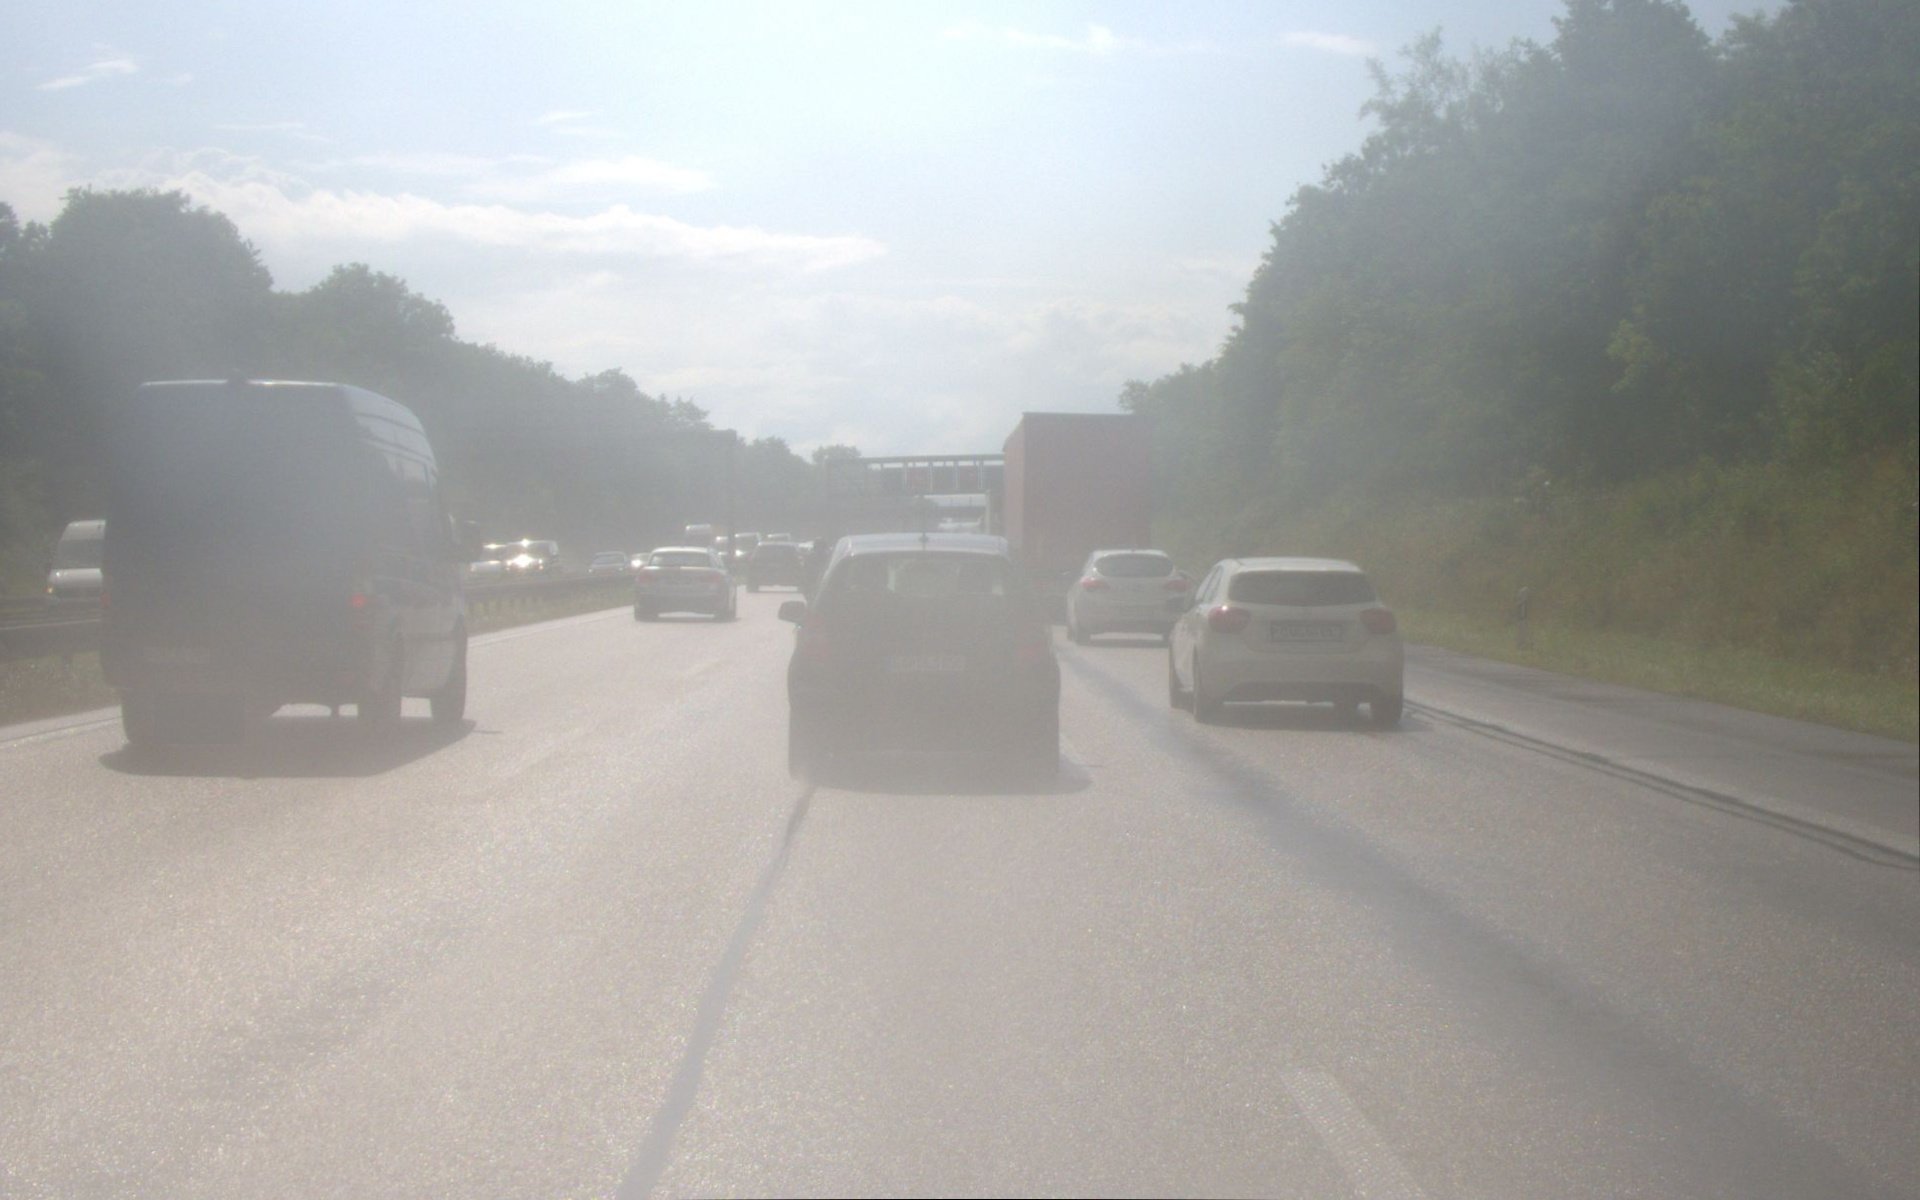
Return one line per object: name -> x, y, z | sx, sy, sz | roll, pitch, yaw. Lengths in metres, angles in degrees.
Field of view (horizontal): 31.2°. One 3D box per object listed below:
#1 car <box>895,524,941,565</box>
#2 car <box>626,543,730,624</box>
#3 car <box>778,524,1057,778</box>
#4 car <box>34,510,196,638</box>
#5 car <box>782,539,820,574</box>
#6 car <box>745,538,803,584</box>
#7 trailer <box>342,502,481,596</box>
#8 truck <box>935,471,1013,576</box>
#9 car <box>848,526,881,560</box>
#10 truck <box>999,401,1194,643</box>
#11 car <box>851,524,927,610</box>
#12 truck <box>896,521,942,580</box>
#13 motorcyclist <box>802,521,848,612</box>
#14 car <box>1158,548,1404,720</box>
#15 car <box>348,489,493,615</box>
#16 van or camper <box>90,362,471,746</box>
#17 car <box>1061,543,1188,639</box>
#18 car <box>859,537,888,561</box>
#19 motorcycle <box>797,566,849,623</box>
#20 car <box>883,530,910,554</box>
car -> -1.480, -1.931, 120.067 | 1.552, 1.378, 3.210 | 1, 1, -1
car -> -5.606, -0.348, 68.683 | 1.854, 1.546, 3.485 | 1, 1, -1
car -> -0.311, 0.294, 23.194 | 1.717, 1.562, 3.485 | 1, 1, -1
car -> -19.828, -0.643, 81.021 | 2.262, 2.860, 6.932 | 1, 1, -2
car -> -6.402, -1.771, 138.862 | 1.460, 1.389, 3.312 | 1, 1, -1
car -> -6.007, -1.261, 111.193 | 1.751, 1.452, 3.390 | 1, 1, -1
trailer -> -23.653, -2.207, 149.359 | 2.990, 3.818, 17.952 | 1, 1, 0
truck -> 0.622, -3.345, 152.823 | 3.256, 4.464, 12.421 | 1, 1, 0
car -> -5.903, -3.525, 212.318 | 1.993, 2.007, 4.000 | -1, 1, -1
truck -> 2.788, -1.656, 75.985 | 3.650, 4.704, 16.779 | 1, 1, 0
car -> -1.496, -0.692, 71.927 | 1.531, 1.740, 3.485 | 1, 1, -1
truck -> -2.073, -2.480, 171.405 | 2.192, 2.865, 4.850 | 1, 1, -1
motorcyclist -> -2.451, -0.603, 62.387 | 0.801, 1.627, 1.013 | 1, 1, -1
car -> 2.808, 0.253, 30.909 | 1.692, 1.420, 4.220 | 1, 1, -1
car -> -11.008, -0.985, 70.537 | 2.183, 2.444, 5.748 | 1, 1, -1
van or camper -> -5.122, -0.357, 26.667 | 1.993, 2.659, 5.385 | 1, 1, -1
car -> 2.536, -0.161, 53.818 | 1.680, 1.437, 3.905 | 1, 1, -1
car -> -4.795, -2.820, 190.529 | 1.549, 1.262, 3.485 | 1, 1, -2
motorcycle -> -2.474, -0.116, 62.437 | 0.890, 0.997, 2.896 | 1, 1, -2
car -> -4.709, -4.319, 255.982 | 1.993, 1.722, 4.000 | 0, 1, 0
